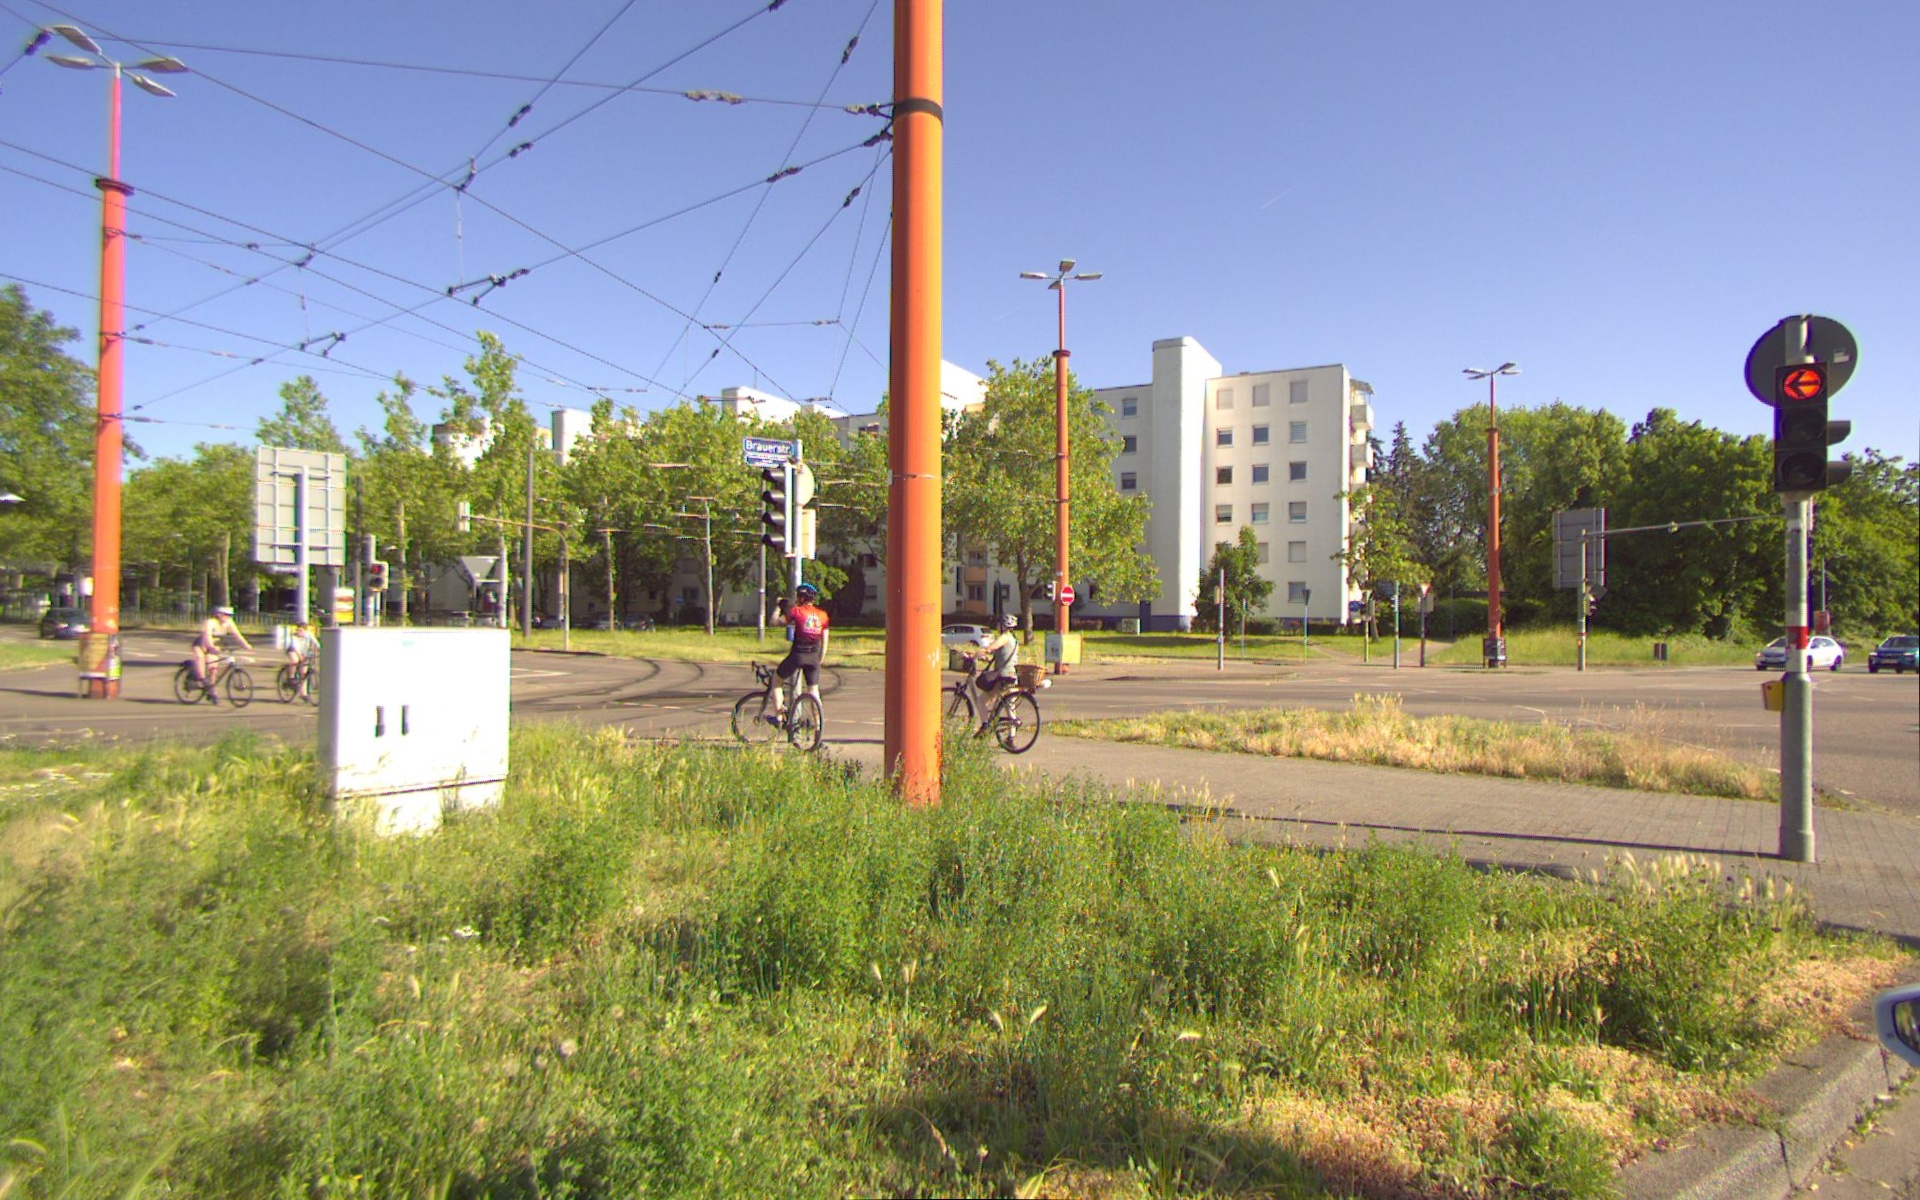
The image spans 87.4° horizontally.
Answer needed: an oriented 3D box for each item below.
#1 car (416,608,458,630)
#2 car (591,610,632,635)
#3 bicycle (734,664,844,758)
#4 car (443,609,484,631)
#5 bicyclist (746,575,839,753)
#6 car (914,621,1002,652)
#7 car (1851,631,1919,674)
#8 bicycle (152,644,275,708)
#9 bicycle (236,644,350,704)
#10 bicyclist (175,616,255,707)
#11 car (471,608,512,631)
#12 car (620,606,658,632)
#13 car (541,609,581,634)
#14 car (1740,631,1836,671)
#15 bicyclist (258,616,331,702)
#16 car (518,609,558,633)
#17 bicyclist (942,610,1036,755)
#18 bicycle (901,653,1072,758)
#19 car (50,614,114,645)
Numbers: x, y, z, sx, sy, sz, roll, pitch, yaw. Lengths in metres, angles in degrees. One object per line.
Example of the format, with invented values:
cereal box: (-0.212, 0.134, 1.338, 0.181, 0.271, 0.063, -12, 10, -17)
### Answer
car: (-46.026, 1.675, 88.476, 1.963, 1.840, 3.995, 1, -1, -8)
car: (-26.113, 1.685, 75.329, 1.962, 1.840, 3.997, 1, -1, -5)
bicycle: (-2.119, 1.306, 12.236, 0.915, 0.976, 1.747, 1, -1, -24)
car: (-42.677, 1.698, 86.448, 1.963, 1.840, 3.995, 1, -1, -8)
bicyclist: (-2.009, 0.744, 12.005, 0.921, 2.040, 0.736, 1, -1, -25)
car: (-0.108, 1.844, 51.595, 4.139, 1.471, 1.799, 0, -1, 21)
car: (37.264, 2.037, 39.865, 4.079, 1.594, 1.981, 2, -1, -35)
bicycle: (-14.032, 1.410, 18.895, 1.849, 1.102, 0.928, 0, -1, 18)
bicycle: (-13.255, 1.441, 19.980, 1.849, 1.102, 0.928, 0, -1, 18)
bicyclist: (-14.006, 1.132, 18.897, 0.726, 1.659, 0.934, 0, -1, 18)
car: (-39.287, 1.640, 84.326, 1.963, 1.840, 3.995, 1, -1, -8)
car: (-23.407, 1.398, 73.417, 1.963, 1.840, 3.995, 1, -1, -8)
car: (-31.196, 1.675, 78.678, 1.963, 1.840, 3.995, 1, -1, -8)
car: (35.141, 2.150, 42.605, 4.075, 1.594, 1.983, 1, -1, -32)
bicyclist: (-13.215, 1.160, 19.968, 0.726, 1.659, 0.934, 0, -1, 18)
car: (-33.812, 1.670, 80.528, 1.963, 1.840, 3.995, 1, -1, -8)
bicyclist: (0.355, 0.955, 12.097, 0.728, 1.659, 0.931, 0, -1, 35)
bicycle: (0.311, 1.225, 12.121, 1.855, 1.102, 0.925, 0, -1, 34)
car: (-46.803, 1.552, 53.534, 3.848, 1.615, 1.935, 0, -2, 39)
